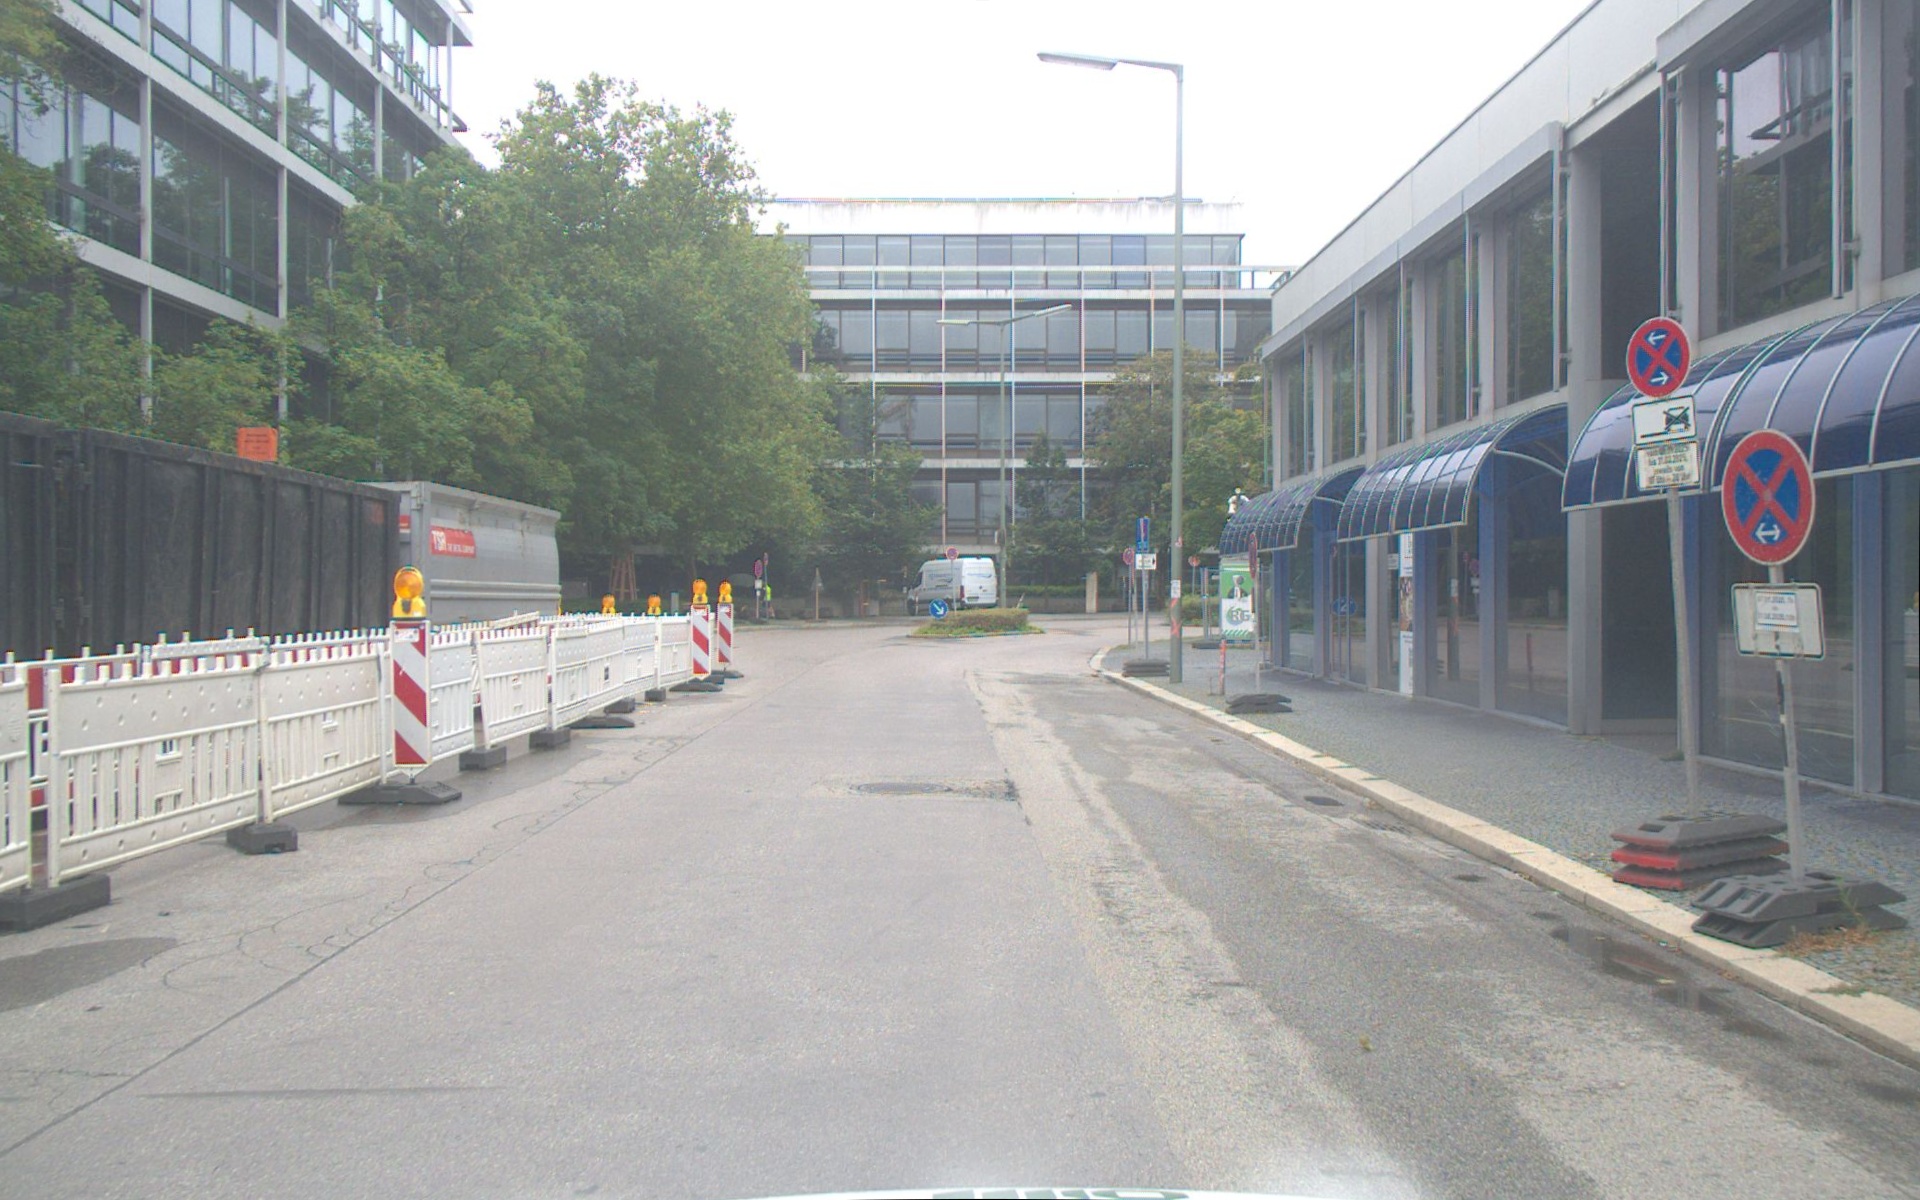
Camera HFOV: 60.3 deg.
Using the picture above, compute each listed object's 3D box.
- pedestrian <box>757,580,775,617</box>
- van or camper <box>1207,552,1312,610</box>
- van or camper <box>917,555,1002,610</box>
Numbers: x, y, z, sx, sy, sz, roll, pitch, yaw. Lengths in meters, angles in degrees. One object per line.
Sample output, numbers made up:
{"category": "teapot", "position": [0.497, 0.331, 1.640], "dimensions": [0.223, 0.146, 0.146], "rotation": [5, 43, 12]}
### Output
{"category": "pedestrian", "position": [-9.039, -0.070, 77.143], "dimensions": [0.730, 1.706, 0.678], "rotation": [0, 0, -20]}
{"category": "van or camper", "position": [13.905, -0.868, 77.001], "dimensions": [4.371, 2.631, 2.103], "rotation": [0, 0, -11]}
{"category": "van or camper", "position": [-0.075, -0.819, 78.583], "dimensions": [2.060, 2.535, 5.025], "rotation": [0, 0, -26]}
